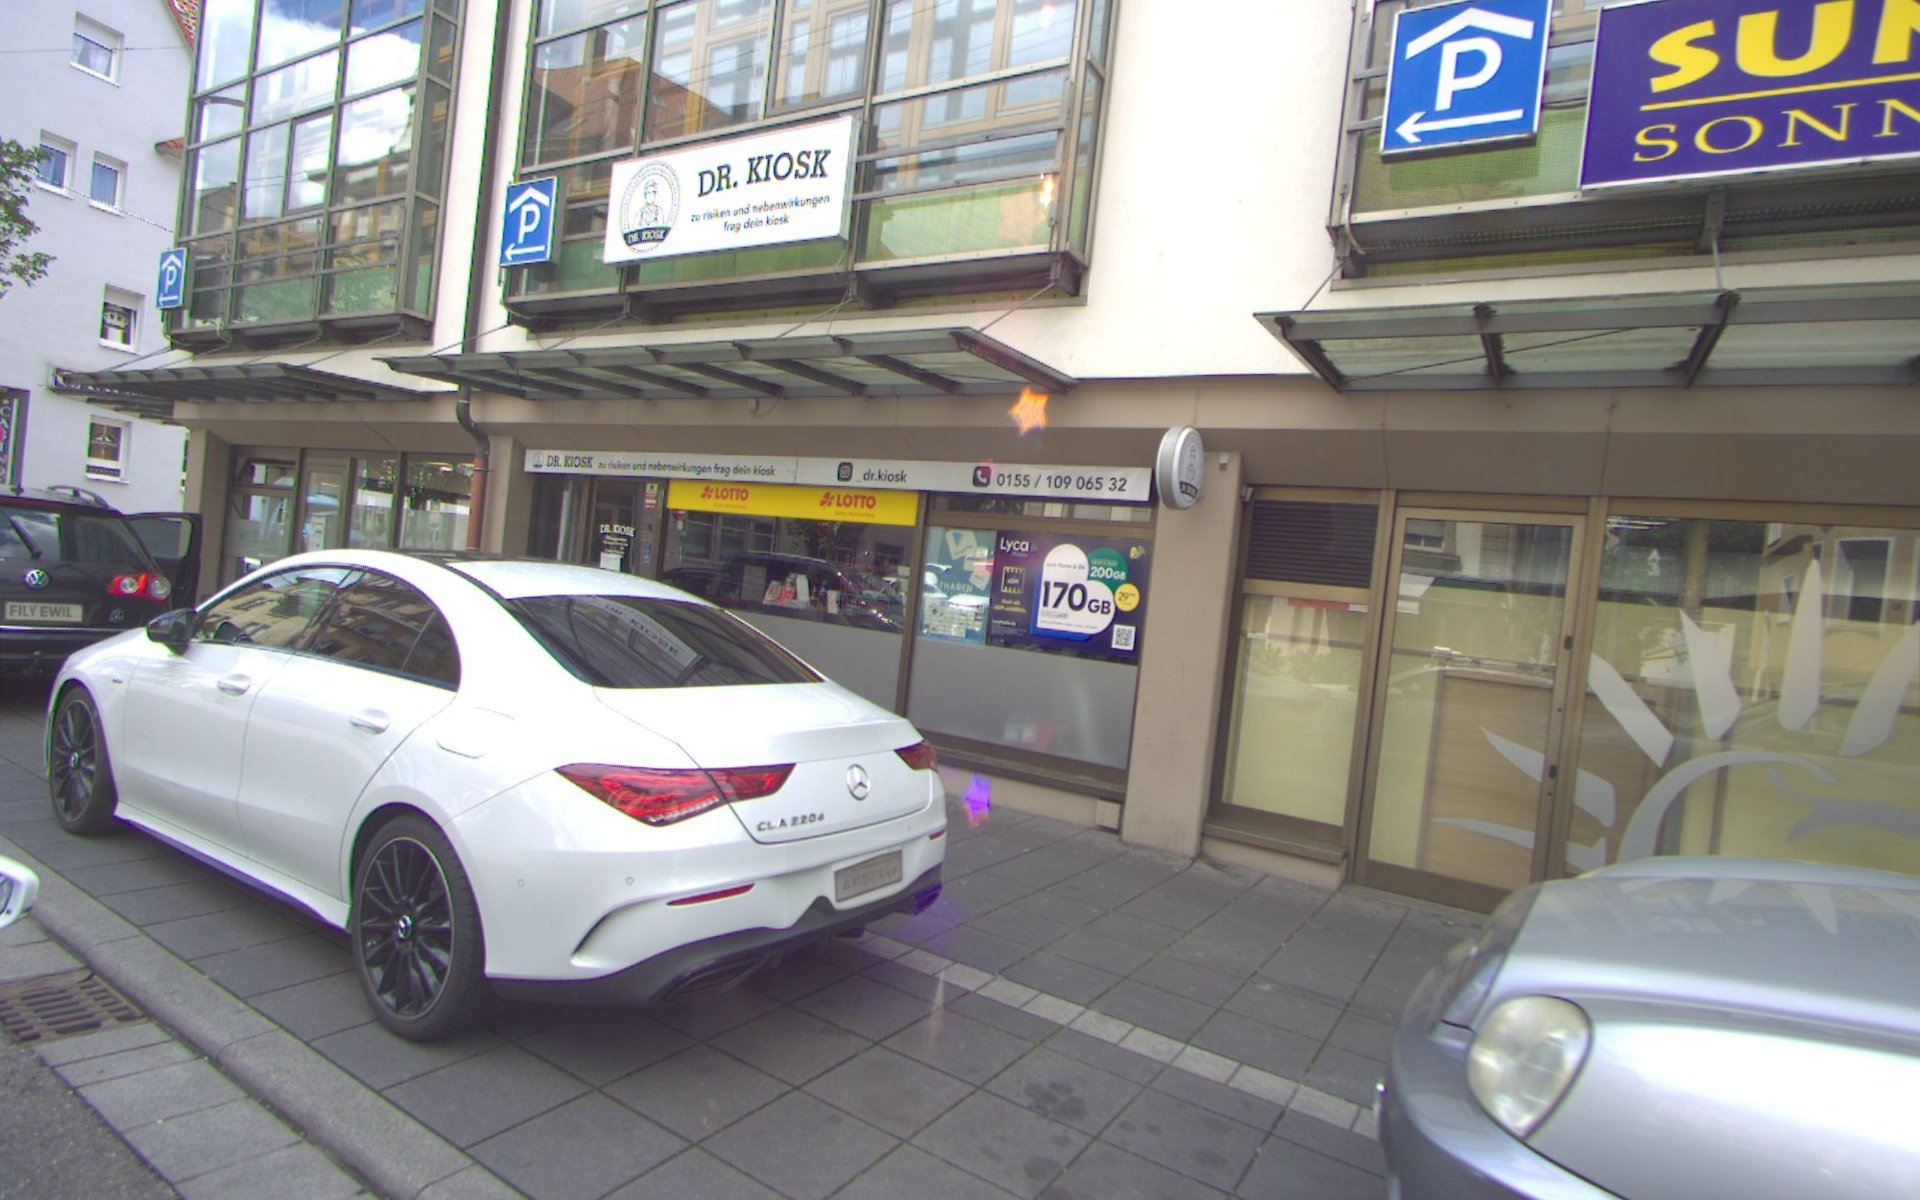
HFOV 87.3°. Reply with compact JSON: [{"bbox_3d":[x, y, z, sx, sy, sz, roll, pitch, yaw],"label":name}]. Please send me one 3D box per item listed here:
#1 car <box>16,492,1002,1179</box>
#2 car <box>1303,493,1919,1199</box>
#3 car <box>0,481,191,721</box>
[{"bbox_3d":[-2.095,0.493,4.184,4.169,1.452,1.622,7,1,32],"label":"car"},{"bbox_3d":[2.781,0.964,1.152,4.166,1.753,1.824,7,1,35],"label":"car"},{"bbox_3d":[-7.566,-0.190,7.430,4.105,1.452,1.607,8,1,33],"label":"car"}]
